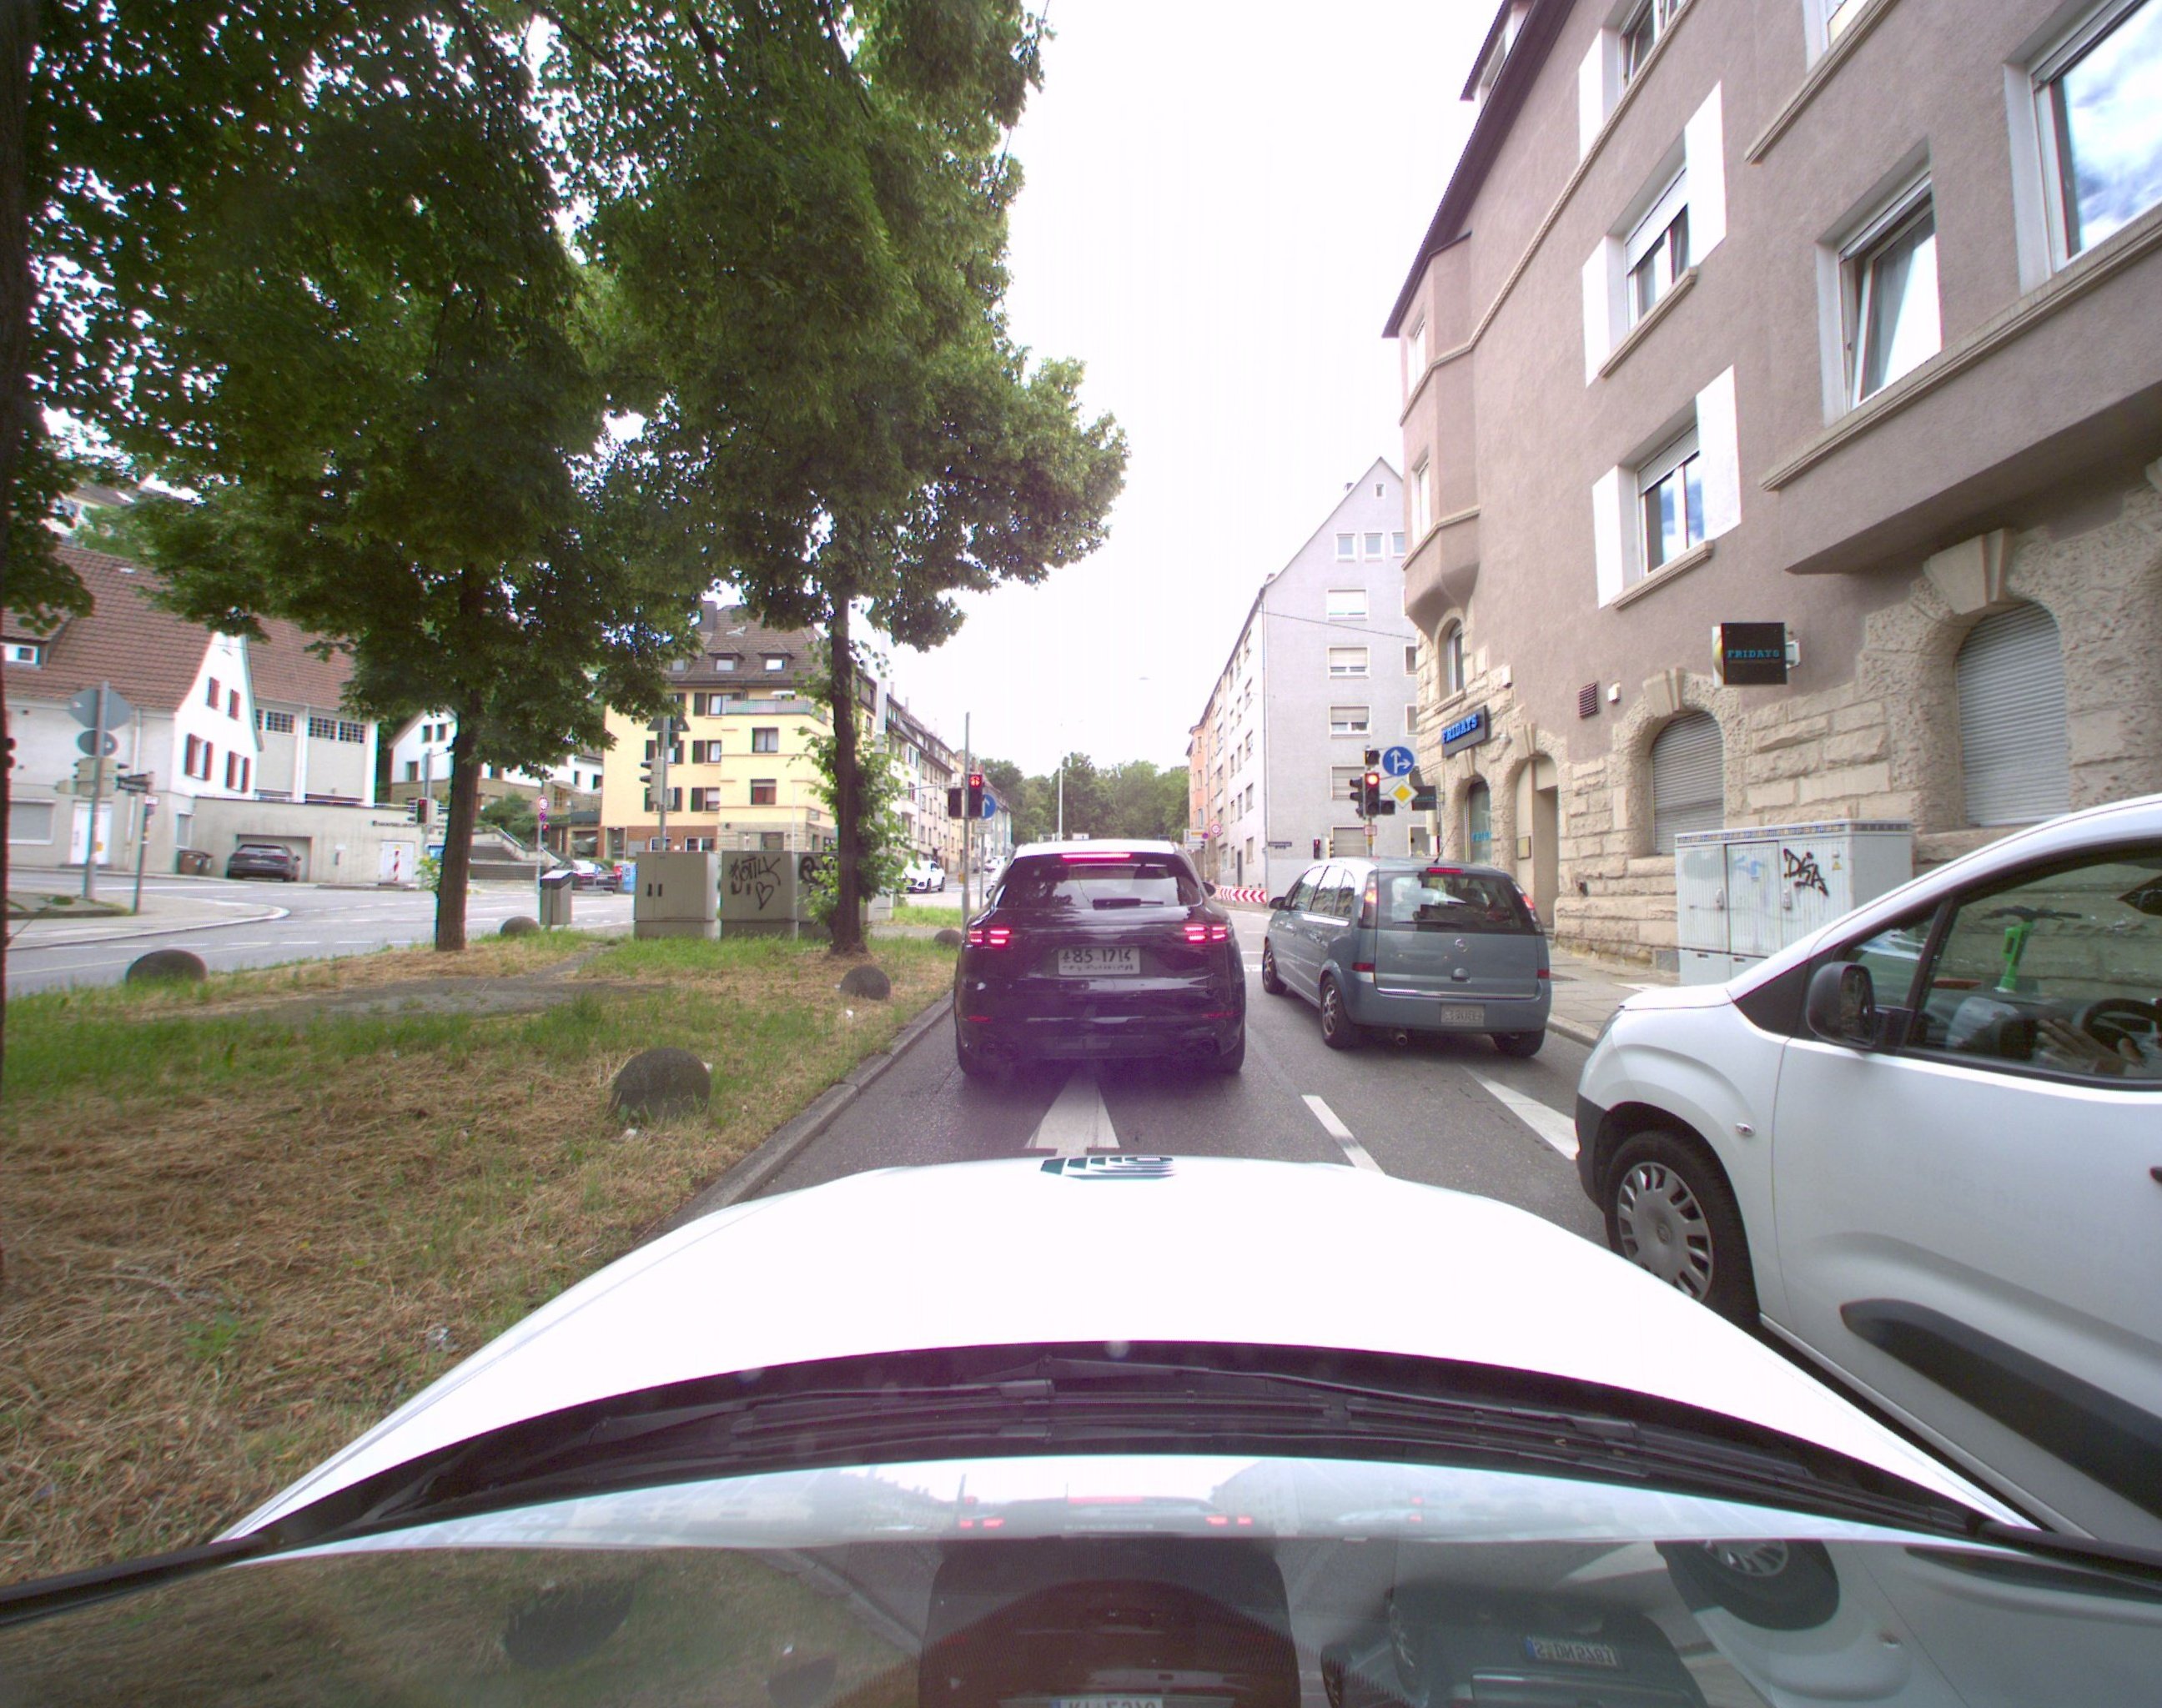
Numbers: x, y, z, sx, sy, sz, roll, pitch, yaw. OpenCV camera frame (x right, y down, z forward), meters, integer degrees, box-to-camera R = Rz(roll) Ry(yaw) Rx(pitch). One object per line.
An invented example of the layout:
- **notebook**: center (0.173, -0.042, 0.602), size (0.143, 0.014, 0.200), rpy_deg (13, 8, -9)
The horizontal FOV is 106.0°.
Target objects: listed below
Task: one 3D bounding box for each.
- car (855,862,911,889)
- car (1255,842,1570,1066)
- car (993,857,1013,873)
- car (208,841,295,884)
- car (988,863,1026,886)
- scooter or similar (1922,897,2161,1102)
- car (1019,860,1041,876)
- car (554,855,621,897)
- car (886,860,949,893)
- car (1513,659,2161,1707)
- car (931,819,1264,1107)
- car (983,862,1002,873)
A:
- **car**: center (-11.356, 1.196, 47.056), size (1.834, 1.486, 3.906), rpy_deg (0, 0, 8)
- **car**: center (2.866, 0.758, 7.918), size (1.622, 1.598, 3.670), rpy_deg (3, 0, 2)
- **car**: center (-10.004, 1.401, 104.911), size (2.008, 2.045, 4.669), rpy_deg (0, -1, 2)
- **car**: center (-32.260, 0.335, 31.679), size (3.018, 1.405, 1.681), rpy_deg (3, -4, 33)
- **car**: center (-4.588, 1.240, 50.830), size (1.854, 1.388, 4.096), rpy_deg (0, 0, 2)
- **scooter or similar**: center (6.493, 0.868, 5.346), size (0.524, 1.104, 1.424), rpy_deg (-1, -1, 4)
- **car**: center (-5.079, 1.421, 81.687), size (1.611, 1.480, 3.828), rpy_deg (-1, -2, 5)
- **car**: center (-23.475, 1.019, 38.729), size (3.477, 1.596, 1.881), rpy_deg (7, 4, 44)
- **car**: center (-8.472, 1.132, 42.671), size (1.964, 1.610, 4.565), rpy_deg (0, 0, 5)
- **car**: center (2.816, 0.595, 1.088), size (1.969, 1.775, 4.676), rpy_deg (3, 0, 0)
- **car**: center (0.159, 0.662, 6.832), size (1.948, 1.674, 4.001), rpy_deg (-1, -1, 2)
- **car**: center (-10.805, 1.632, 99.283), size (1.732, 1.387, 3.815), rpy_deg (0, 0, 2)
